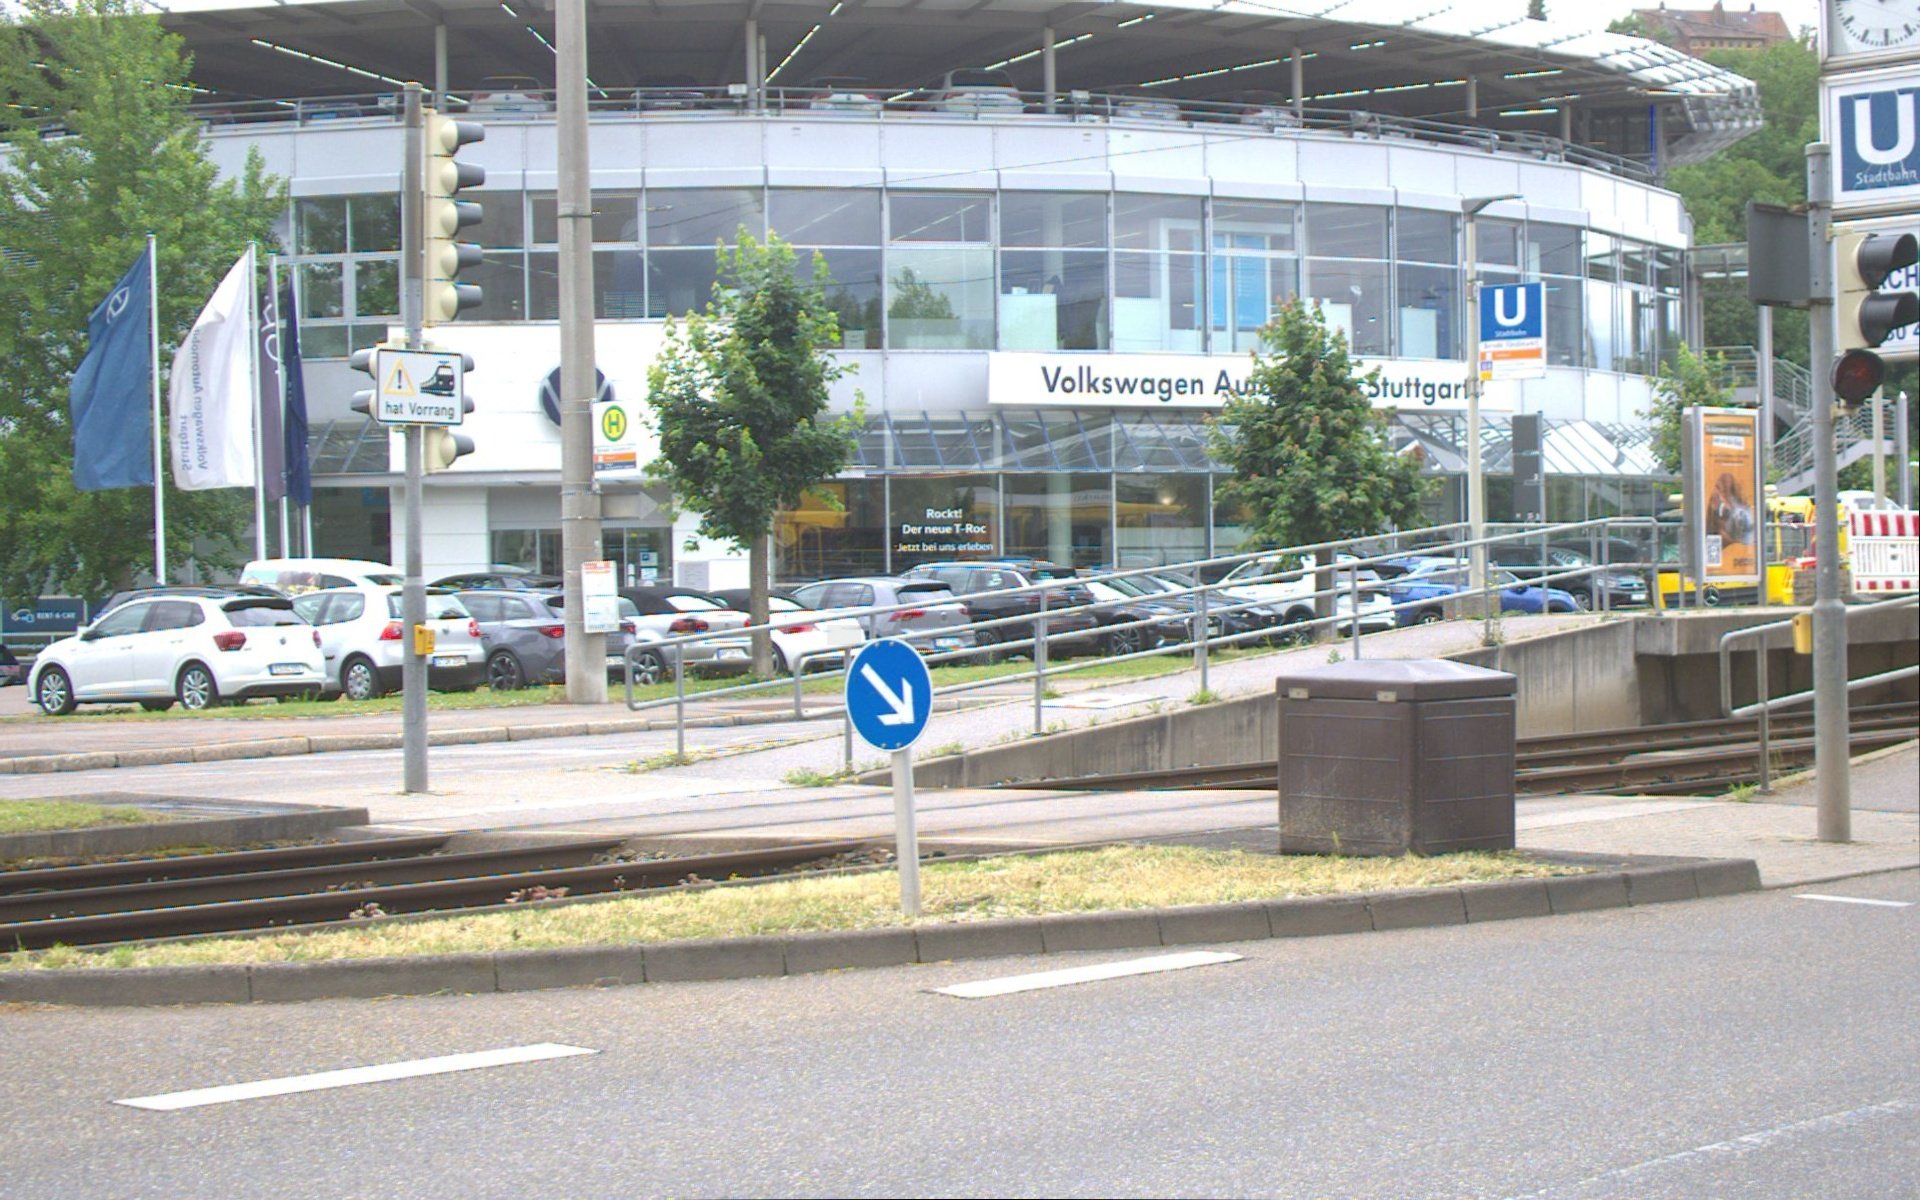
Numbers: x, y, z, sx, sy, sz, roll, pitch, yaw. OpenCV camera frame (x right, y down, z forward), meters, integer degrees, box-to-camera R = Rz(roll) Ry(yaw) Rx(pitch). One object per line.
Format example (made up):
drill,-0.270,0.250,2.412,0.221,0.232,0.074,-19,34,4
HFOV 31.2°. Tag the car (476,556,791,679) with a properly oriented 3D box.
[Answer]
car,-4.487,0.249,47.081,3.995,1.549,1.923,0,-3,36

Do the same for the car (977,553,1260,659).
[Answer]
car,2.465,0.083,53.843,3.995,1.549,1.923,0,2,36

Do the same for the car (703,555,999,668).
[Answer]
car,-1.629,0.183,50.794,3.995,1.549,1.923,0,-3,36

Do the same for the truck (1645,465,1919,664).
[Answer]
truck,14.939,-0.586,57.163,2.701,3.068,8.985,-1,0,42

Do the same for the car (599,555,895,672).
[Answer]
car,-3.051,0.198,49.020,3.995,1.549,1.725,0,-3,36

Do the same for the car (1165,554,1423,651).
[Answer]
car,5.613,0.043,58.056,3.997,1.549,1.922,-1,1,45

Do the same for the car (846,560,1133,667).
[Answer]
car,0.435,0.191,52.420,3.995,1.549,1.923,0,1,36

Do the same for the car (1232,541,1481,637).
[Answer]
car,6.938,-0.162,60.402,3.997,1.549,1.922,-1,-3,45

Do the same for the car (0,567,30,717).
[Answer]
car,-12.413,0.456,38.128,3.995,1.634,1.996,0,0,36

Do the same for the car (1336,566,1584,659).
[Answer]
car,8.889,0.247,61.346,3.997,1.549,1.922,-1,-3,45

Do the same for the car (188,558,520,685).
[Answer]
car,-7.631,0.274,43.186,3.995,1.472,1.810,0,-3,36

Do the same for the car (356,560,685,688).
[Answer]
car,-5.758,0.320,44.903,3.995,1.549,1.923,0,-3,36

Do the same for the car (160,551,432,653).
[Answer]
car,-10.868,0.027,56.262,3.993,1.549,1.924,0,-3,28

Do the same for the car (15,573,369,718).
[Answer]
car,-9.297,0.555,41.544,3.995,1.634,1.995,0,-3,36
